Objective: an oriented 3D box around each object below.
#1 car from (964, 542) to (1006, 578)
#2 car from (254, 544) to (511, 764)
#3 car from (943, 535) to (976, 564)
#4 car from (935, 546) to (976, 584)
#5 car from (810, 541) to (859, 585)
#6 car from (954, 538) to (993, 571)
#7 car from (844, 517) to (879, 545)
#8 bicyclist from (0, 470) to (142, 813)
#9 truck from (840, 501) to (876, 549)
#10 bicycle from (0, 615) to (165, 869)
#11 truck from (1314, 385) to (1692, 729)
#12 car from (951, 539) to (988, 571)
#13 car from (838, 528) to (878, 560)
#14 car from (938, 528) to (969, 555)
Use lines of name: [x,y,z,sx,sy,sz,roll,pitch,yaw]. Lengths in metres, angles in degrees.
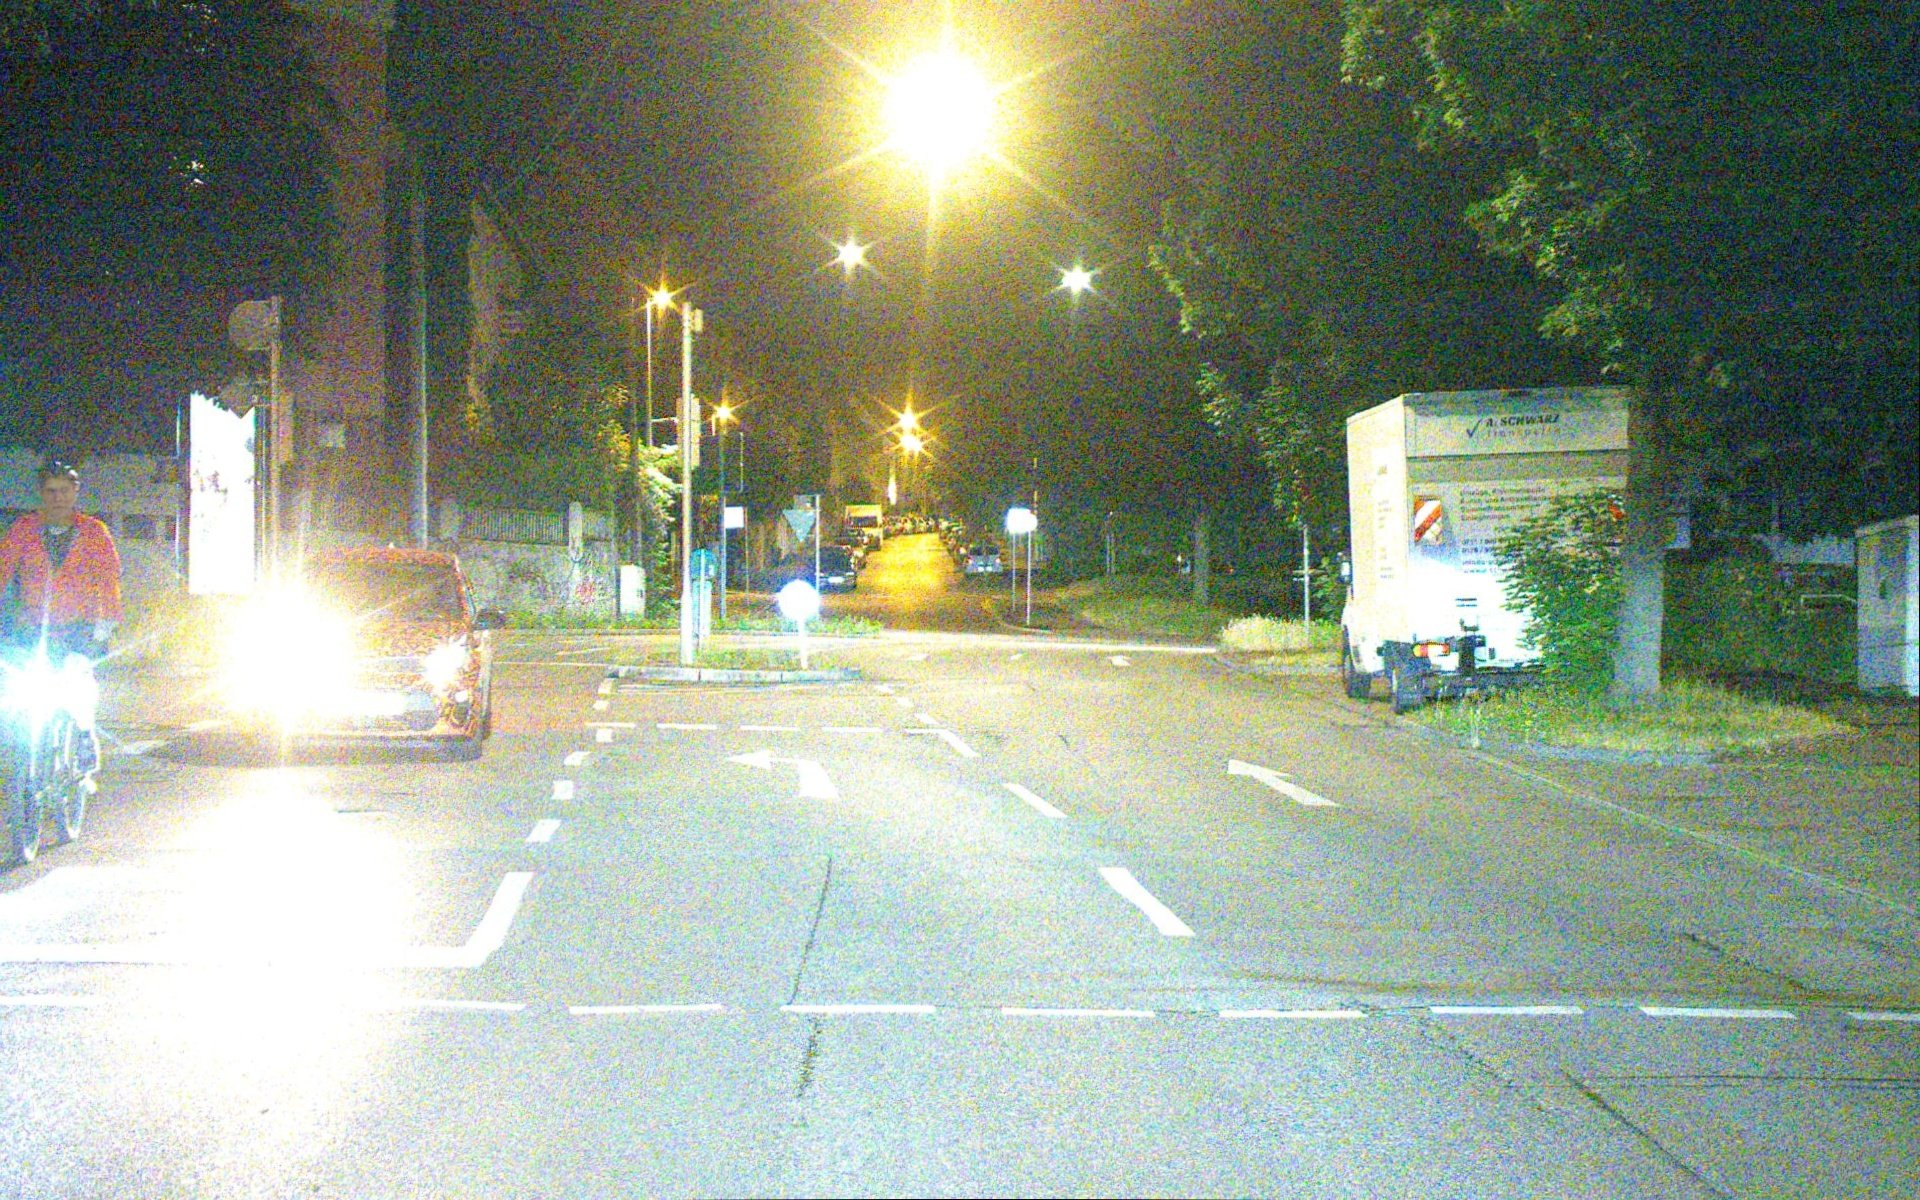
car: [1.026,-1.678,143.358,1.634,1.447,3.485,1,1,-1]
car: [-4.200,0.346,25.377,1.581,1.496,3.397,1,1,-5]
car: [-0.020,-2.623,178.513,1.634,1.447,3.485,1,1,-1]
car: [-0.191,-1.395,137.656,1.593,1.471,3.654,1,1,-1]
car: [-4.899,-1.462,134.444,1.815,1.678,4.000,1,1,-1]
car: [0.587,-2.035,153.090,1.634,1.447,3.485,1,1,-1]
car: [-5.373,-3.738,186.946,1.815,1.486,4.000,1,1,-2]
bicyclist: [-4.456,0.192,16.823,0.690,1.631,0.896,1,0,-1]
truck: [-6.218,-4.545,209.576,2.086,2.838,5.832,1,1,-2]
bicycle: [-4.466,0.658,16.847,0.696,1.145,1.951,1,0,-1]
truck: [5.294,-0.440,34.609,2.749,3.100,6.258,1,1,0]
car: [0.450,-2.087,159.276,1.634,1.447,3.485,1,1,-1]
car: [-4.793,-2.617,160.565,1.815,1.486,4.000,1,1,-2]
car: [-0.375,-3.254,191.479,1.634,1.447,3.485,1,1,-1]
